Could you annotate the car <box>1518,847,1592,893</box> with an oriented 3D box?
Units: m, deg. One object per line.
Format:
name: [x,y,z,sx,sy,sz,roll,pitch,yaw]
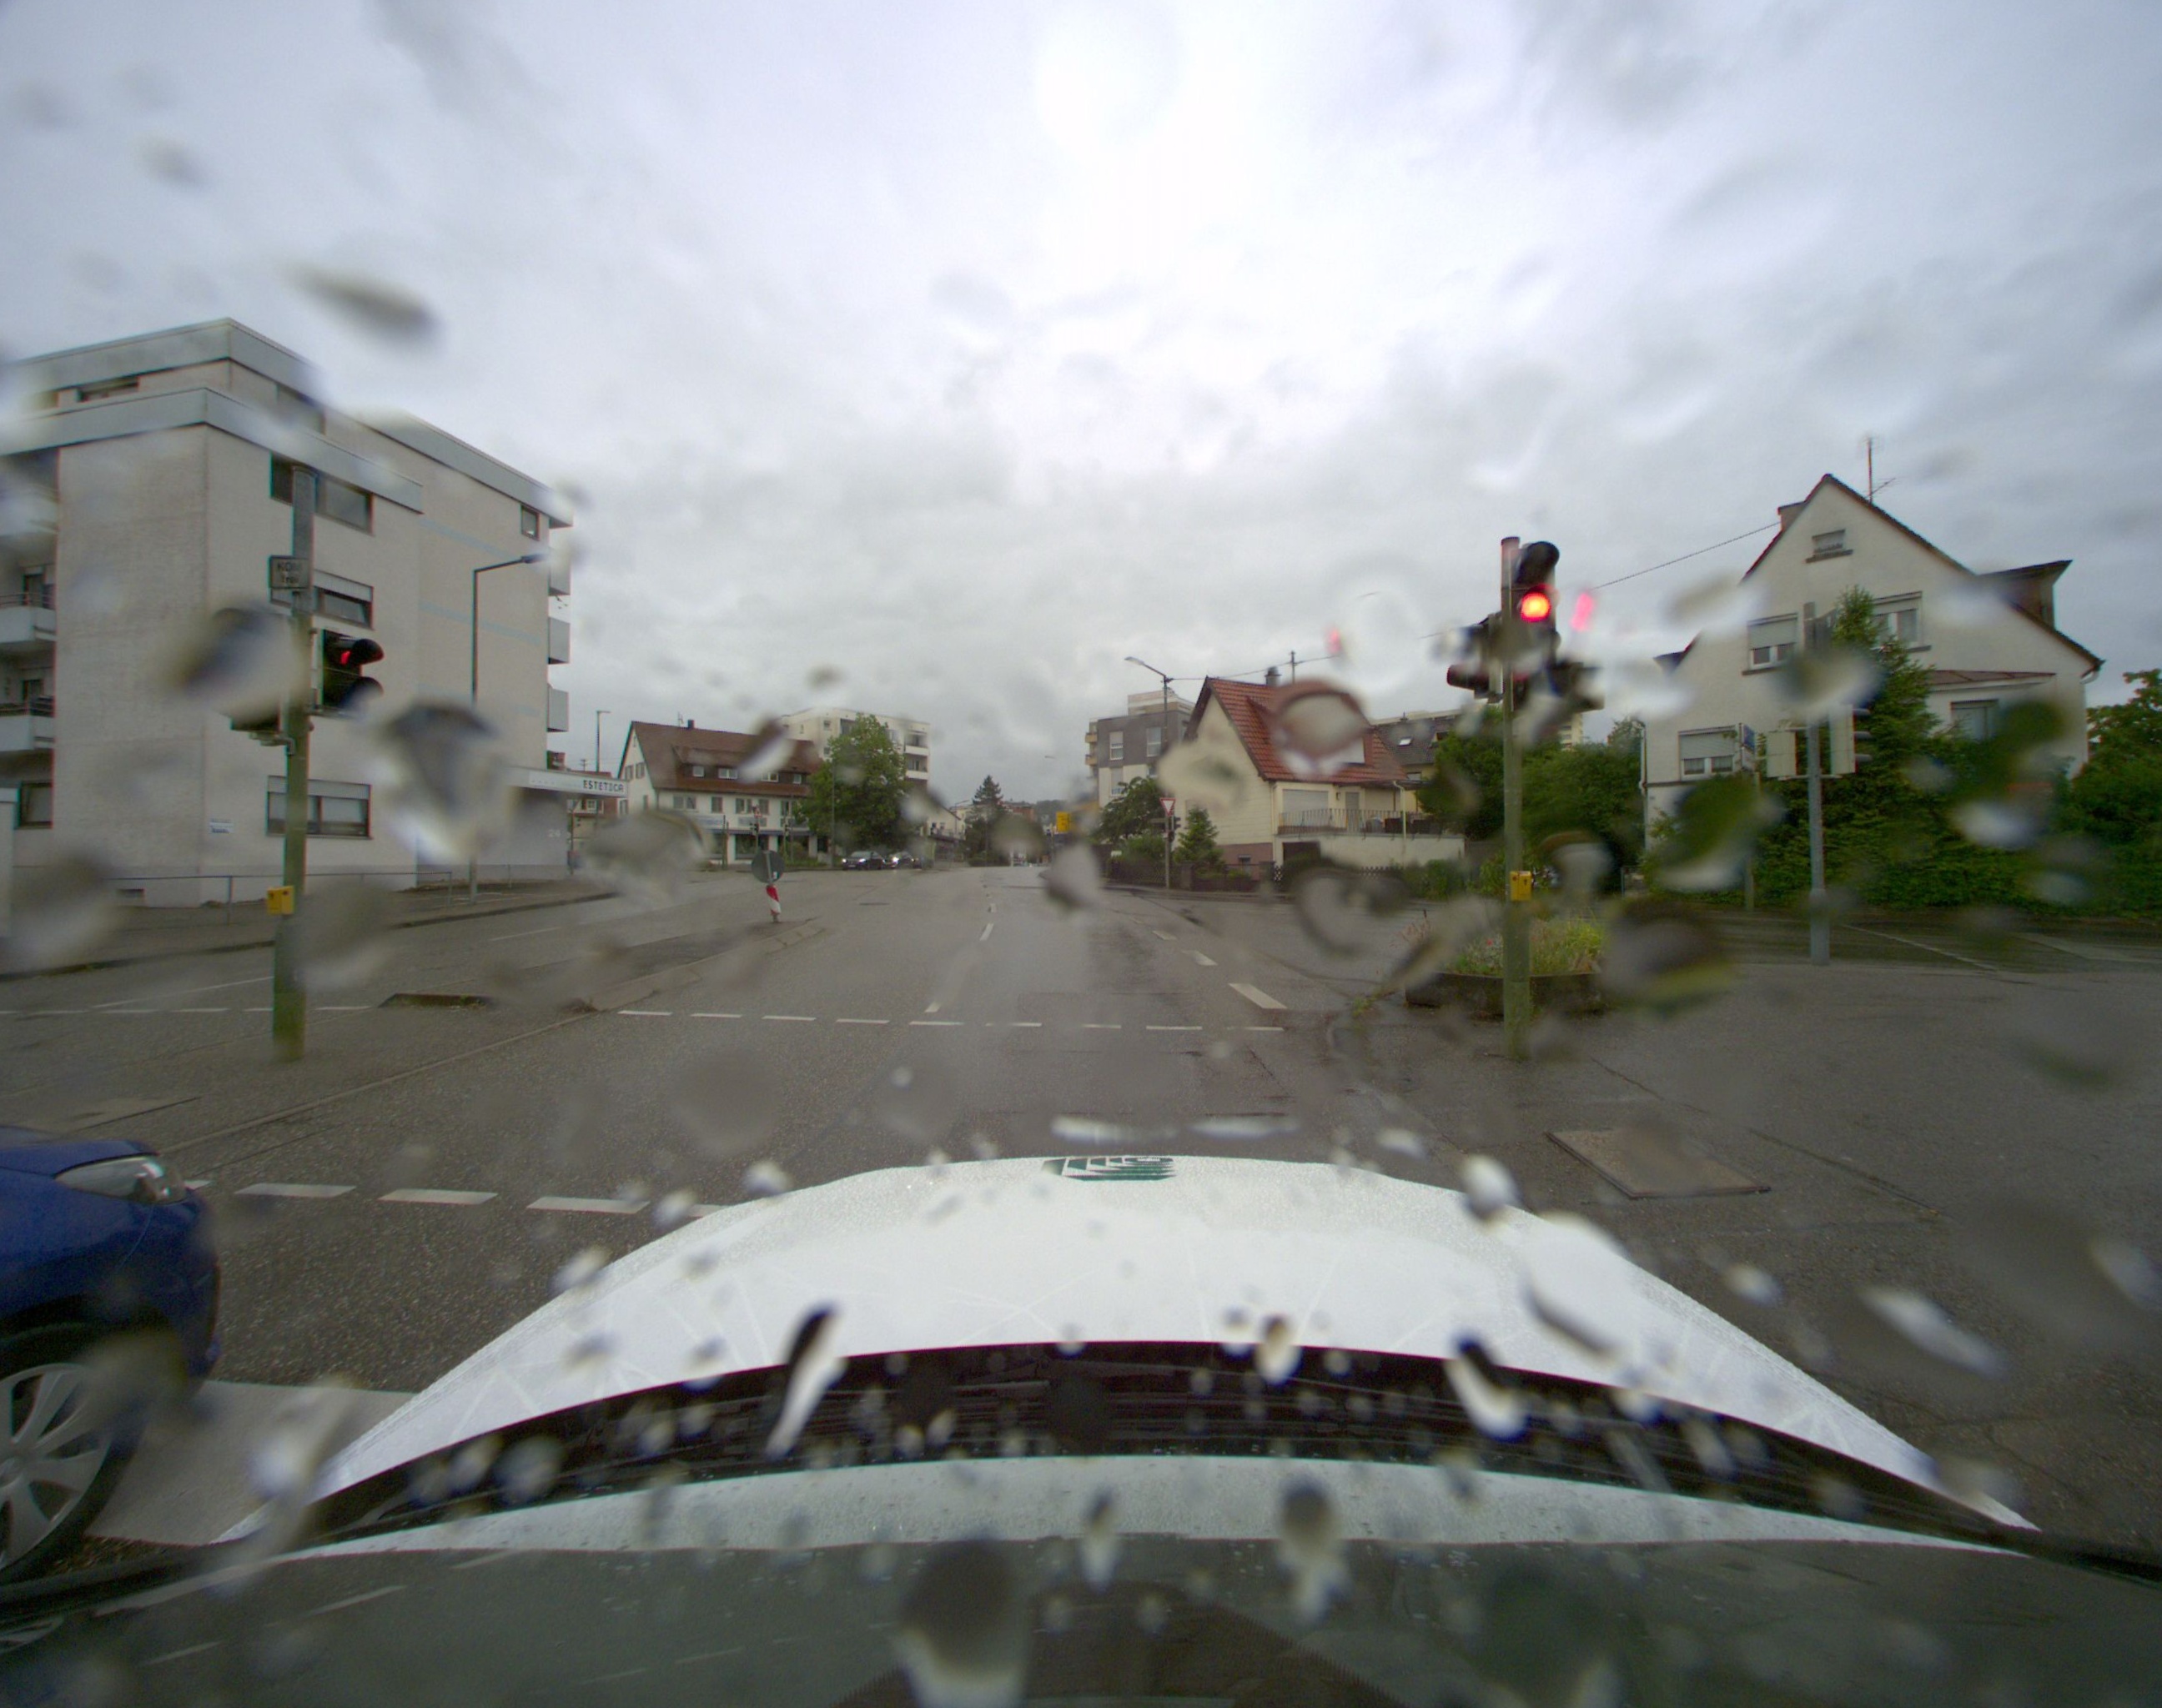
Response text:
car: [17.097,0.518,29.299,1.723,1.514,4.025,0,0,39]

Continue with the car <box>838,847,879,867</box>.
car: [-16.006,0.214,58.755,1.772,1.420,3.832,0,0,2]

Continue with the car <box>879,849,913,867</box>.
car: [-14.988,0.327,66.127,1.708,1.387,4.022,0,0,2]

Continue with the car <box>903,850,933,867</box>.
car: [-14.371,0.369,71.941,1.772,1.420,3.832,0,0,2]

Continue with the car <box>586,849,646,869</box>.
car: [-38.289,0.416,67.081,3.988,1.572,1.850,0,0,-42]

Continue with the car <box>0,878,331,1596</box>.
car: [-2.988,0.784,0.701,1.572,1.410,3.272,0,0,2]
